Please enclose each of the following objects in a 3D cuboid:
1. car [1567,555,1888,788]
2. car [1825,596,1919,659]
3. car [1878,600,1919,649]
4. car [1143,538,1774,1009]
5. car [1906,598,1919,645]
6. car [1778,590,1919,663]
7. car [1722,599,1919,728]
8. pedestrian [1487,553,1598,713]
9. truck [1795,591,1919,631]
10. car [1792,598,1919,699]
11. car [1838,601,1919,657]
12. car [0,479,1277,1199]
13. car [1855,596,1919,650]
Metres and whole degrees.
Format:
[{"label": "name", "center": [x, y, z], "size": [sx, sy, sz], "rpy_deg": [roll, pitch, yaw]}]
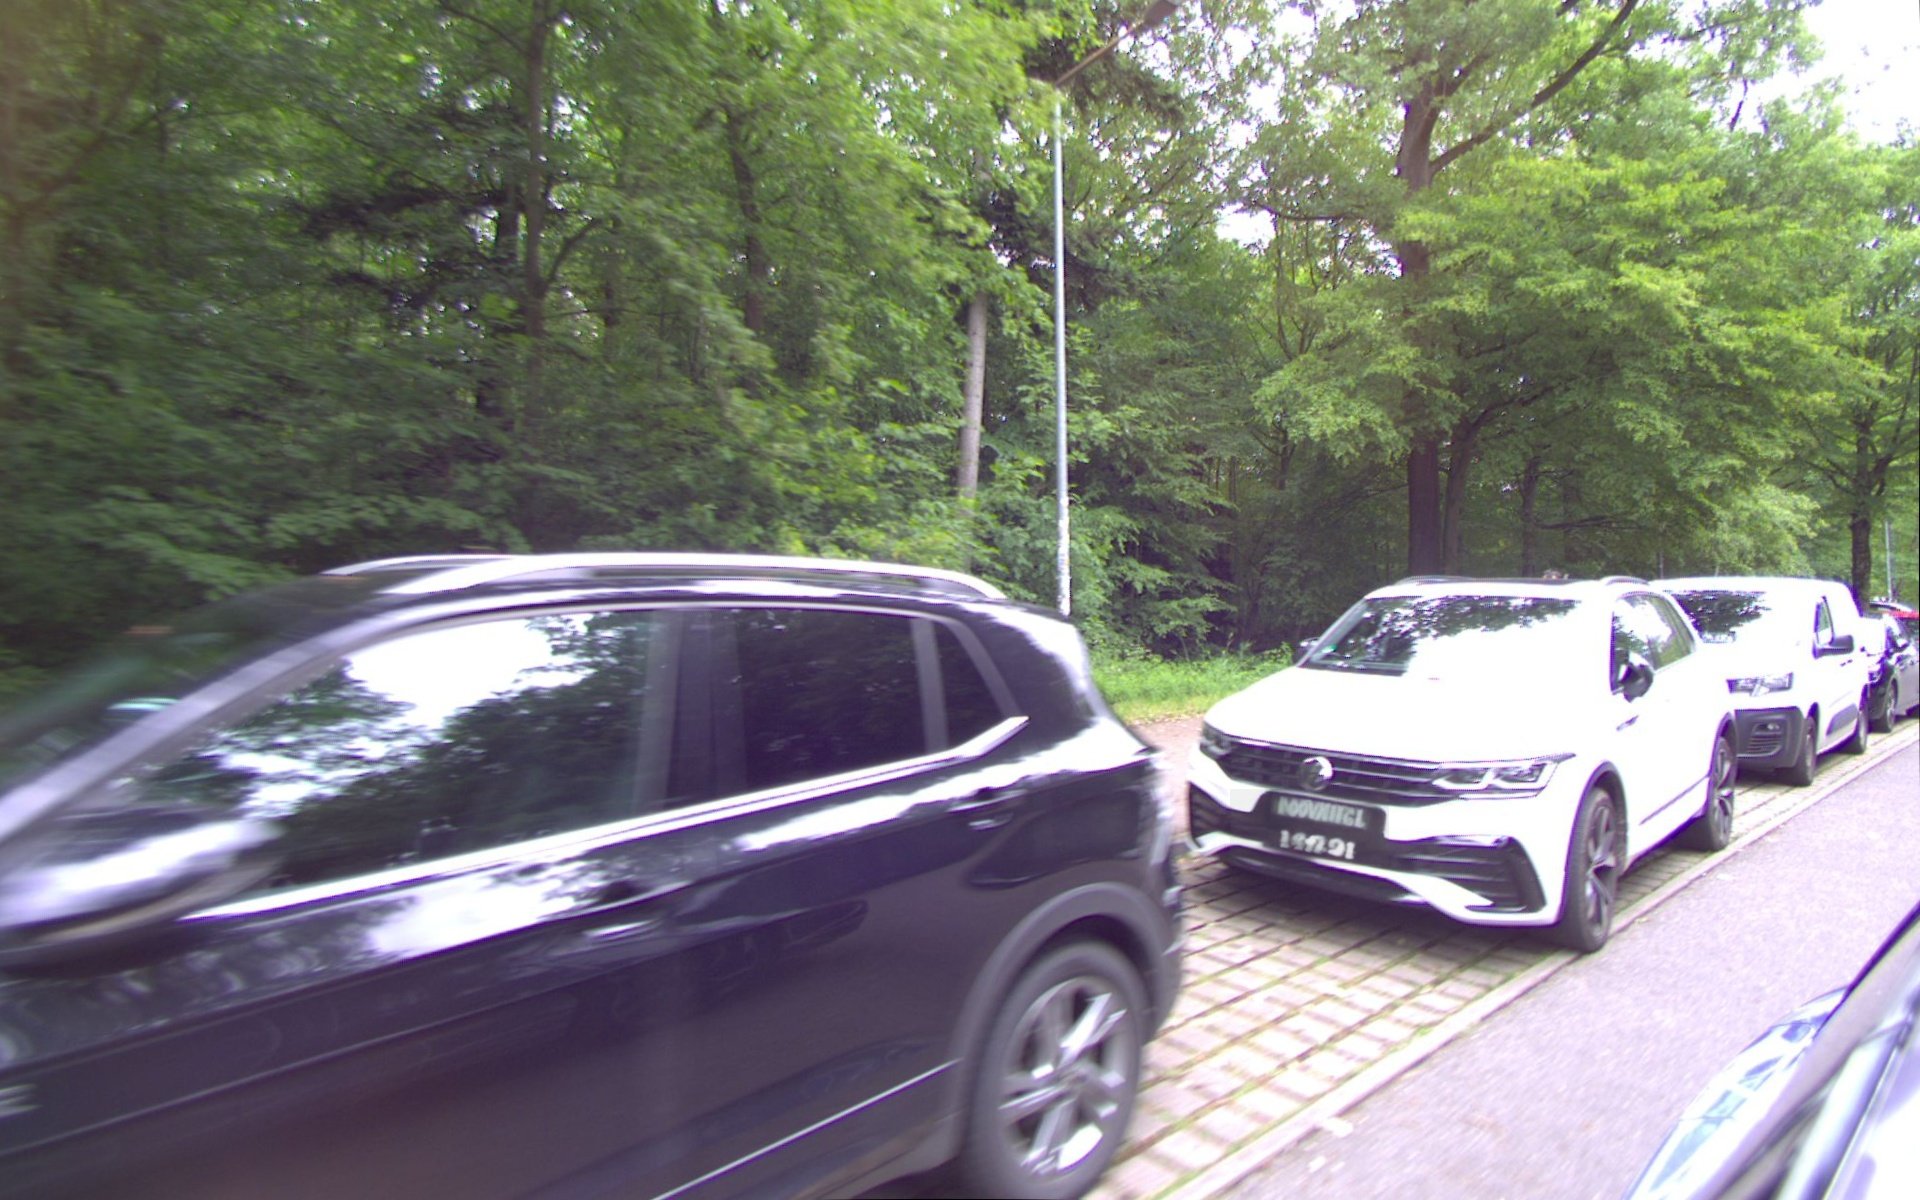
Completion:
[{"label": "car", "center": [7.701, 0.558, 9.982], "size": [4.474, 1.803, 1.746], "rpy_deg": [0, 0, -42]}, {"label": "car", "center": [24.903, 0.694, 25.906], "size": [1.942, 1.571, 3.992], "rpy_deg": [1, 0, -42]}, {"label": "car", "center": [30.637, 0.766, 30.710], "size": [1.774, 1.475, 3.840], "rpy_deg": [0, 1, -35]}, {"label": "car", "center": [3.183, 0.626, 5.874], "size": [4.638, 1.683, 1.787], "rpy_deg": [0, 0, -43]}, {"label": "car", "center": [32.927, 0.714, 31.975], "size": [1.858, 1.531, 4.199], "rpy_deg": [1, -1, -37]}, {"label": "car", "center": [22.774, 0.621, 24.531], "size": [1.922, 1.687, 4.277], "rpy_deg": [1, 0, -37]}, {"label": "car", "center": [11.702, 0.719, 13.348], "size": [4.207, 1.441, 1.729], "rpy_deg": [0, 0, -40]}, {"label": "pedestrian", "center": [6.722, 0.364, 11.678], "size": [0.986, 1.748, 0.819], "rpy_deg": [0, -1, -40]}, {"label": "truck", "center": [82.691, 0.988, 93.425], "size": [2.809, 3.559, 8.260], "rpy_deg": [2, -1, -27]}, {"label": "car", "center": [15.850, 0.736, 17.020], "size": [4.883, 1.498, 1.997], "rpy_deg": [0, 0, -40]}, {"label": "car", "center": [26.836, 0.797, 27.653], "size": [1.916, 1.494, 3.999], "rpy_deg": [0, 0, -36]}, {"label": "car", "center": [-1.247, 0.676, 2.198], "size": [4.370, 1.628, 1.753], "rpy_deg": [0, 0, -42]}, {"label": "car", "center": [28.826, 0.688, 29.467], "size": [1.816, 1.550, 3.839], "rpy_deg": [0, 1, -36]}]
